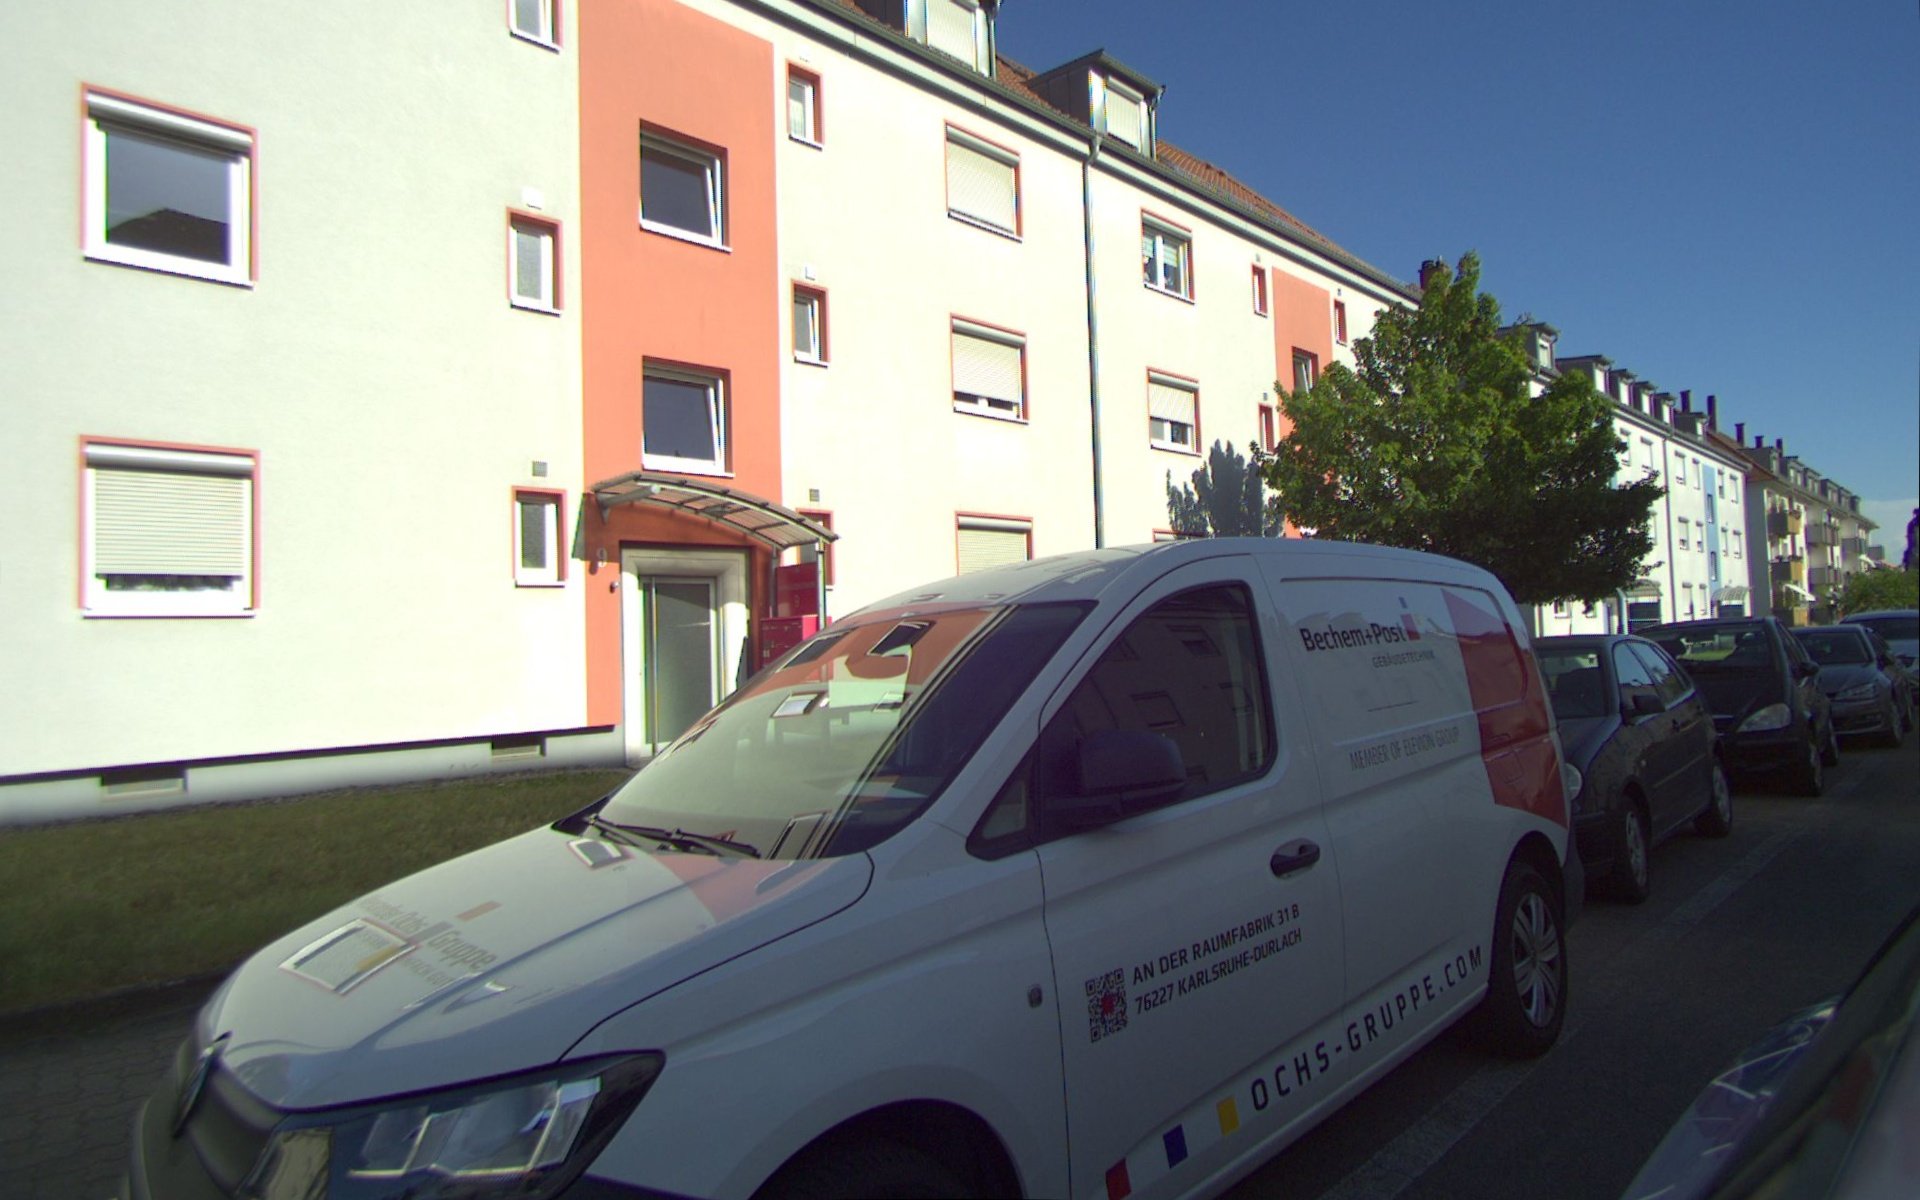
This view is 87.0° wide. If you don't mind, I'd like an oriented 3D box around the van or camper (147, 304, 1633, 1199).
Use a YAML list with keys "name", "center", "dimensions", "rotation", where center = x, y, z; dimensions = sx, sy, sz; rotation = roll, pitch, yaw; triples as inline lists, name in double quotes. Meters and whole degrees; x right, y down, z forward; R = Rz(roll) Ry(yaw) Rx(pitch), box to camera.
- name: "van or camper"
  center: [0.402, 0.607, 3.273]
  dimensions: [4.653, 1.770, 1.794]
  rotation: [0, -3, -42]

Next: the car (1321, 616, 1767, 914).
- name: "car"
  center: [4.121, 0.894, 6.888]
  dimensions: [3.725, 1.436, 1.573]
  rotation: [0, -5, -44]

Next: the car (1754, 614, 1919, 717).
- name: "car"
  center: [13.854, 0.953, 15.830]
  dimensions: [3.428, 1.412, 1.630]
  rotation: [0, -3, -42]

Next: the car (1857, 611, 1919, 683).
- name: "car"
  center: [21.411, 0.992, 22.602]
  dimensions: [3.792, 1.468, 1.617]
  rotation: [0, -5, -43]

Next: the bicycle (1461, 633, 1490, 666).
- name: "bicycle"
  center: [15.808, 1.516, 31.016]
  dimensions: [1.260, 0.958, 0.319]
  rotation: [0, -1, -40]

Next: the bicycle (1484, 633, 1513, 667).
- name: "bicycle"
  center: [16.211, 1.492, 30.447]
  dimensions: [1.260, 0.958, 0.319]
  rotation: [0, -1, -40]

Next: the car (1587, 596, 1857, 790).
- name: "car"
  center: [7.645, 0.837, 10.036]
  dimensions: [1.616, 1.571, 3.554]
  rotation: [-8, -6, 43]

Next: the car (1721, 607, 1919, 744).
- name: "car"
  center: [11.071, 0.892, 12.827]
  dimensions: [3.886, 1.469, 1.629]
  rotation: [2, -4, -44]

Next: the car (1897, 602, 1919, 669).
- name: "car"
  center: [25.555, 0.859, 26.008]
  dimensions: [4.348, 1.627, 1.729]
  rotation: [0, -3, -42]

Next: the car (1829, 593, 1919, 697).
- name: "car"
  center: [17.605, 0.781, 18.775]
  dimensions: [4.236, 1.742, 1.775]
  rotation: [0, -6, -45]
